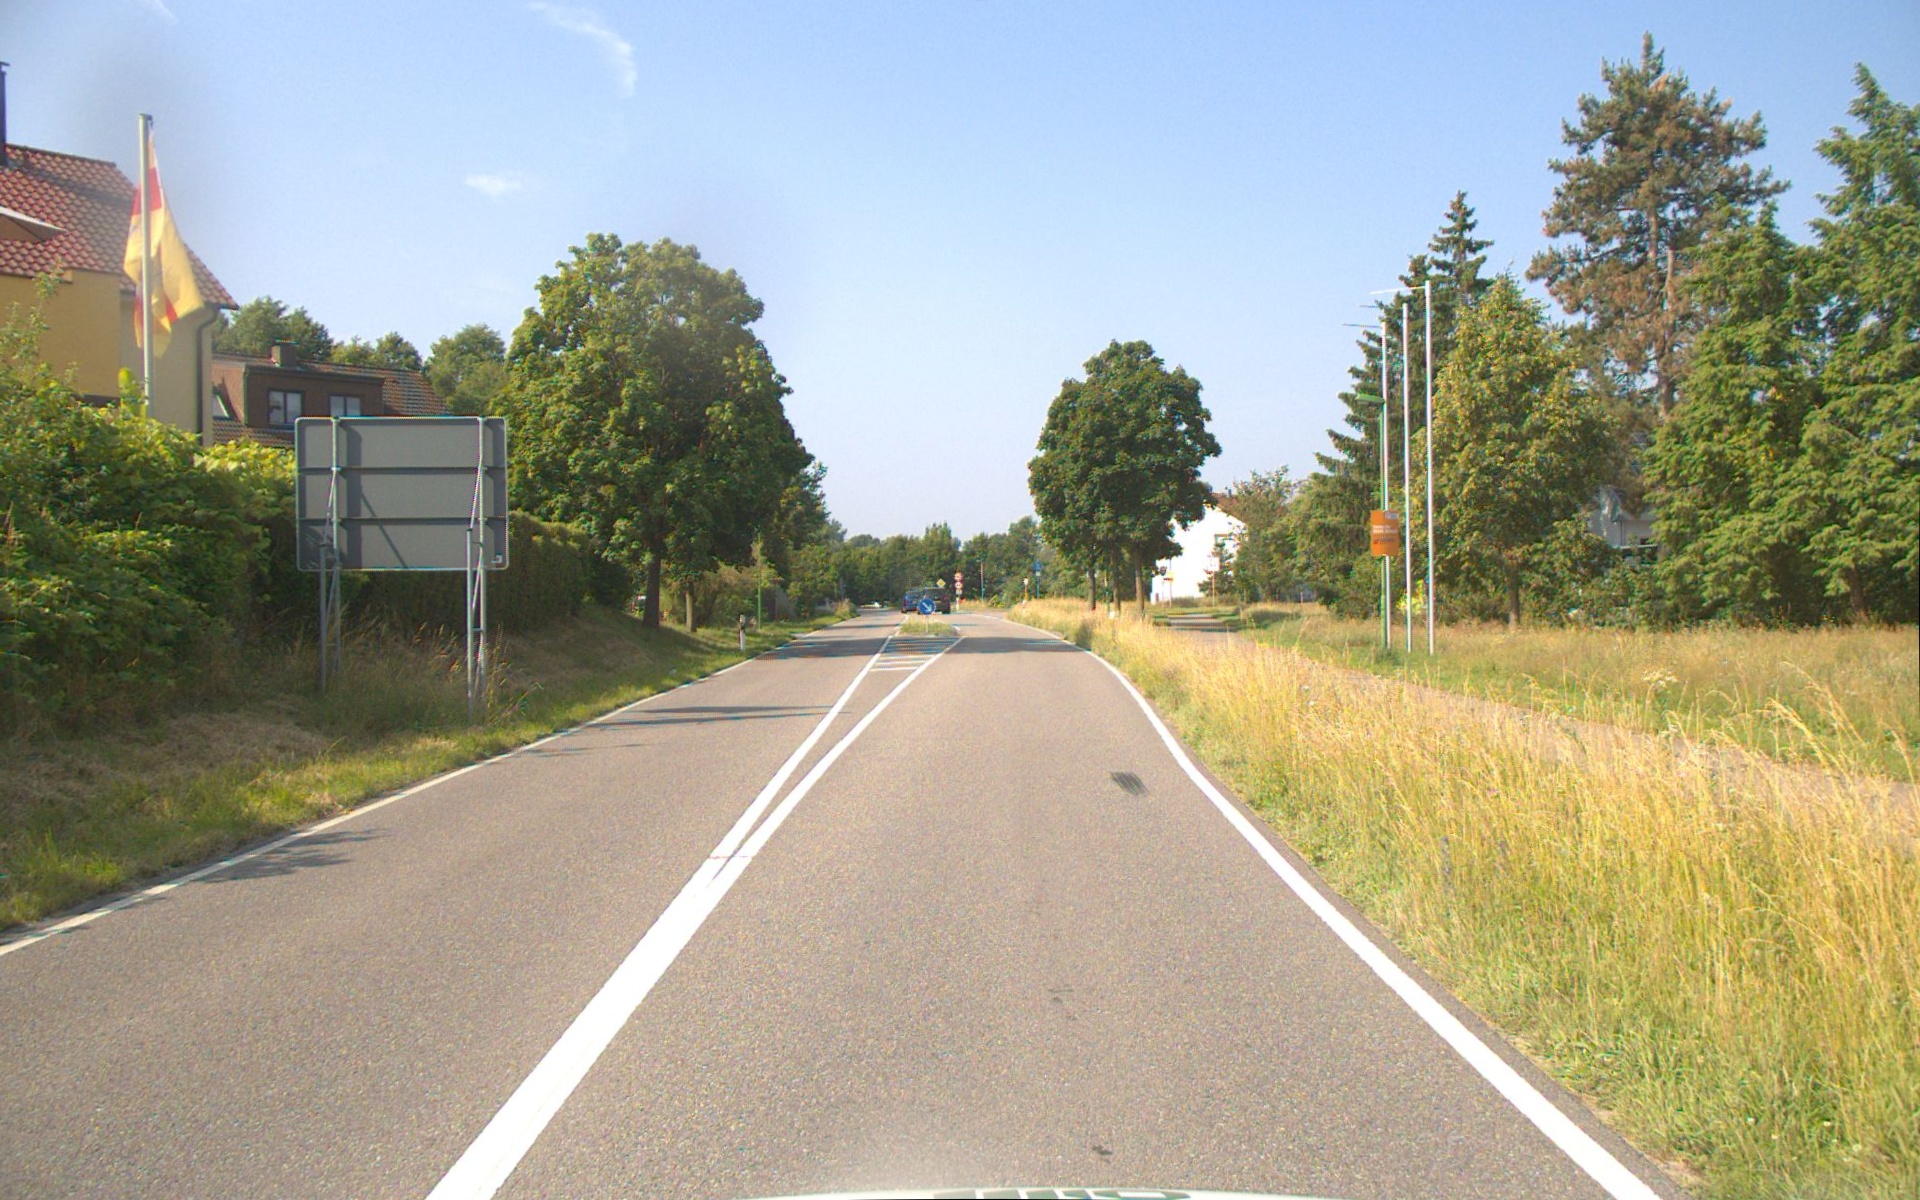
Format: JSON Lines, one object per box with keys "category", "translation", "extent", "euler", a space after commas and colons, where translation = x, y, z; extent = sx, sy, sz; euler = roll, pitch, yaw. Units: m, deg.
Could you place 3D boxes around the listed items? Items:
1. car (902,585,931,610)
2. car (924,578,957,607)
{"category": "car", "translation": [-3.345, -0.197, 126.161], "extent": [1.965, 1.802, 3.996], "euler": [0, 1, -5]}
{"category": "car", "translation": [-1.277, -0.513, 105.770], "extent": [1.887, 1.802, 3.998], "euler": [0, 1, -3]}
